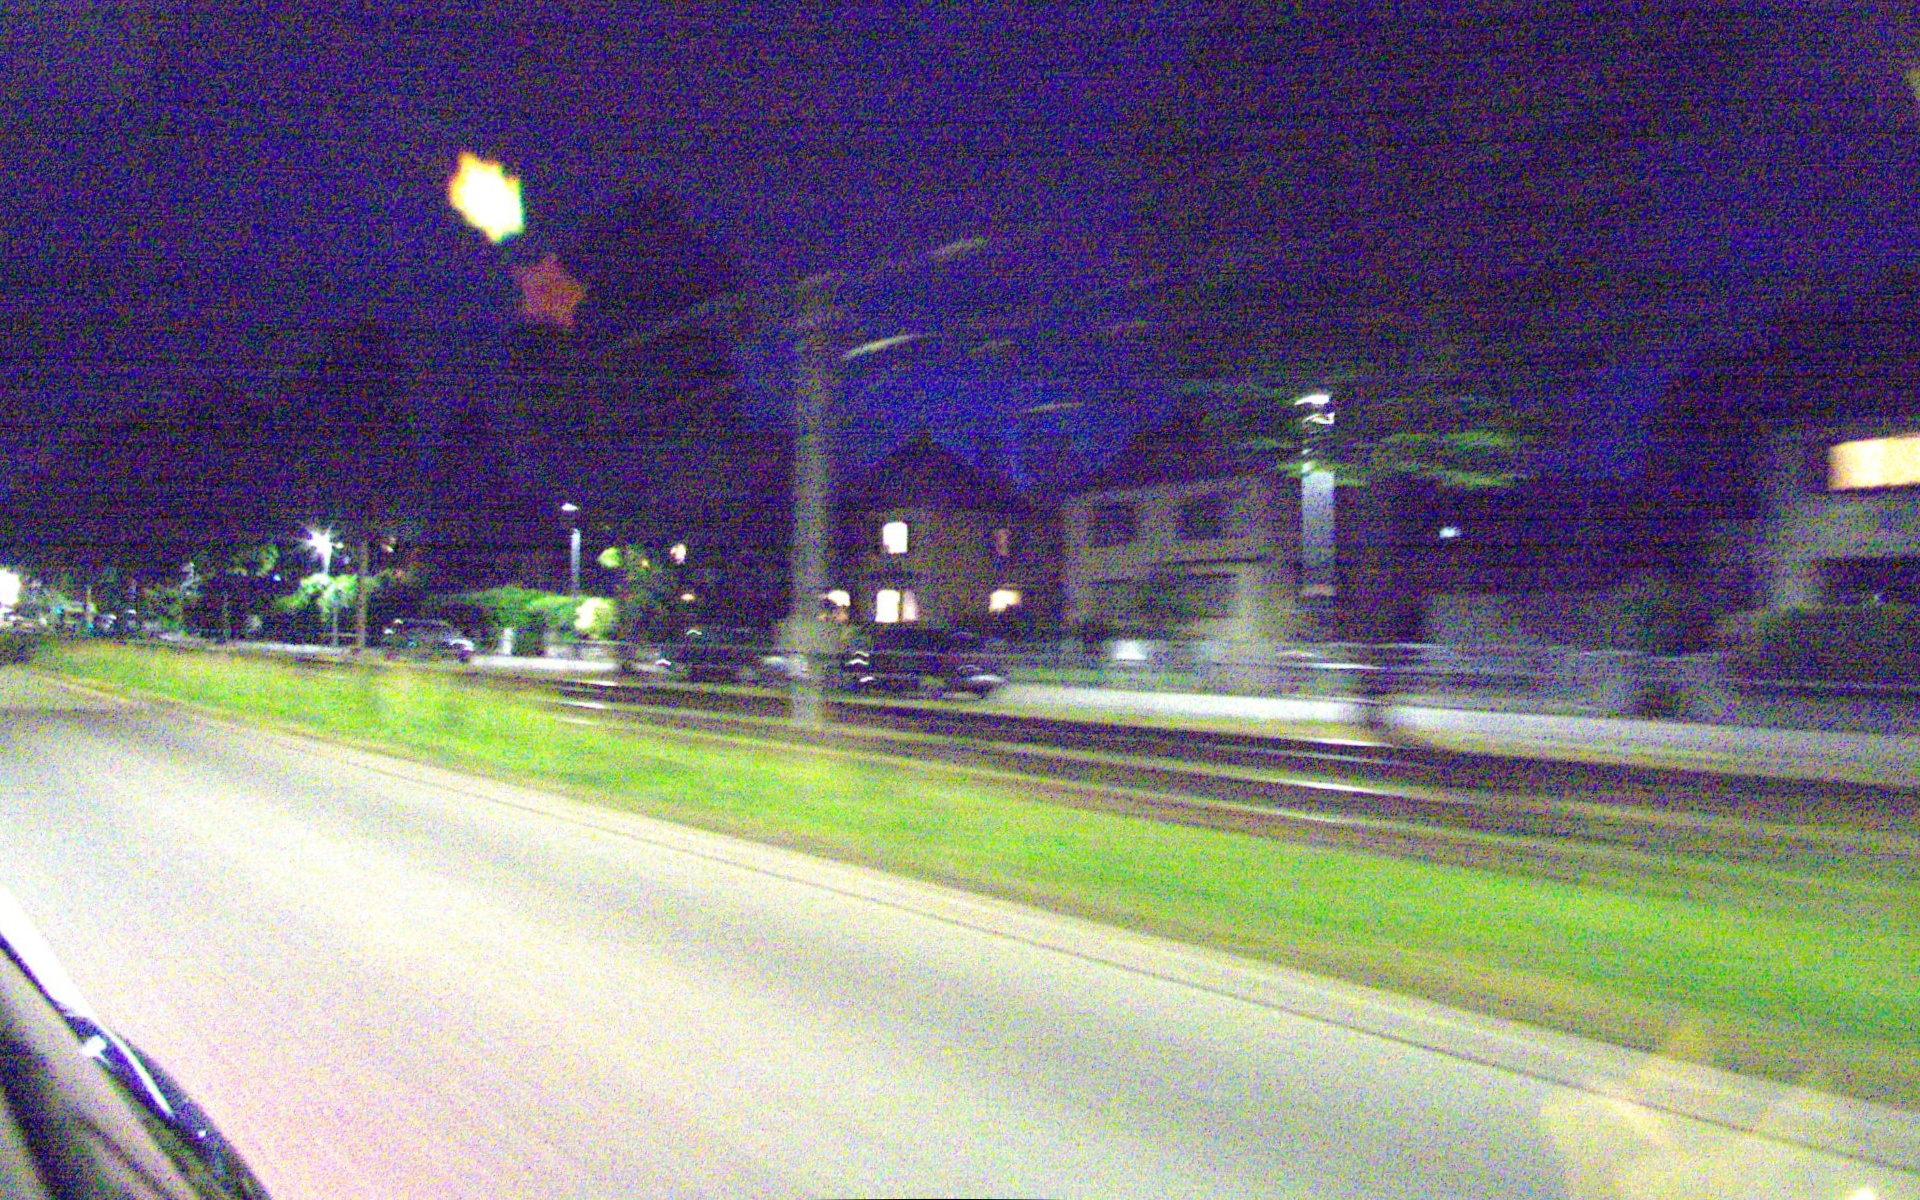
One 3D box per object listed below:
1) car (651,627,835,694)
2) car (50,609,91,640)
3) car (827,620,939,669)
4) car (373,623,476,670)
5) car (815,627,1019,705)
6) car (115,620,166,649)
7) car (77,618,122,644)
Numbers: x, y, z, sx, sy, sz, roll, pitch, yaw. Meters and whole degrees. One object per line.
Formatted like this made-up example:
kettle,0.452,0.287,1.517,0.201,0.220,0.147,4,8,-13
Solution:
car,-5.393,1.435,24.707,4.985,1.375,1.879,0,-4,44
car,-76.531,2.078,87.026,4.721,2.532,2.135,0,-4,44
car,-2.766,1.565,36.923,1.887,1.554,3.948,0,1,39
car,-19.960,1.694,37.642,4.691,1.580,1.745,-1,-6,41
car,-0.952,1.317,20.858,4.144,1.375,1.710,0,-4,41
car,-56.364,2.361,69.573,4.721,1.784,2.096,0,-4,44
car,-66.338,2.394,78.004,4.721,1.784,2.096,0,-4,44
